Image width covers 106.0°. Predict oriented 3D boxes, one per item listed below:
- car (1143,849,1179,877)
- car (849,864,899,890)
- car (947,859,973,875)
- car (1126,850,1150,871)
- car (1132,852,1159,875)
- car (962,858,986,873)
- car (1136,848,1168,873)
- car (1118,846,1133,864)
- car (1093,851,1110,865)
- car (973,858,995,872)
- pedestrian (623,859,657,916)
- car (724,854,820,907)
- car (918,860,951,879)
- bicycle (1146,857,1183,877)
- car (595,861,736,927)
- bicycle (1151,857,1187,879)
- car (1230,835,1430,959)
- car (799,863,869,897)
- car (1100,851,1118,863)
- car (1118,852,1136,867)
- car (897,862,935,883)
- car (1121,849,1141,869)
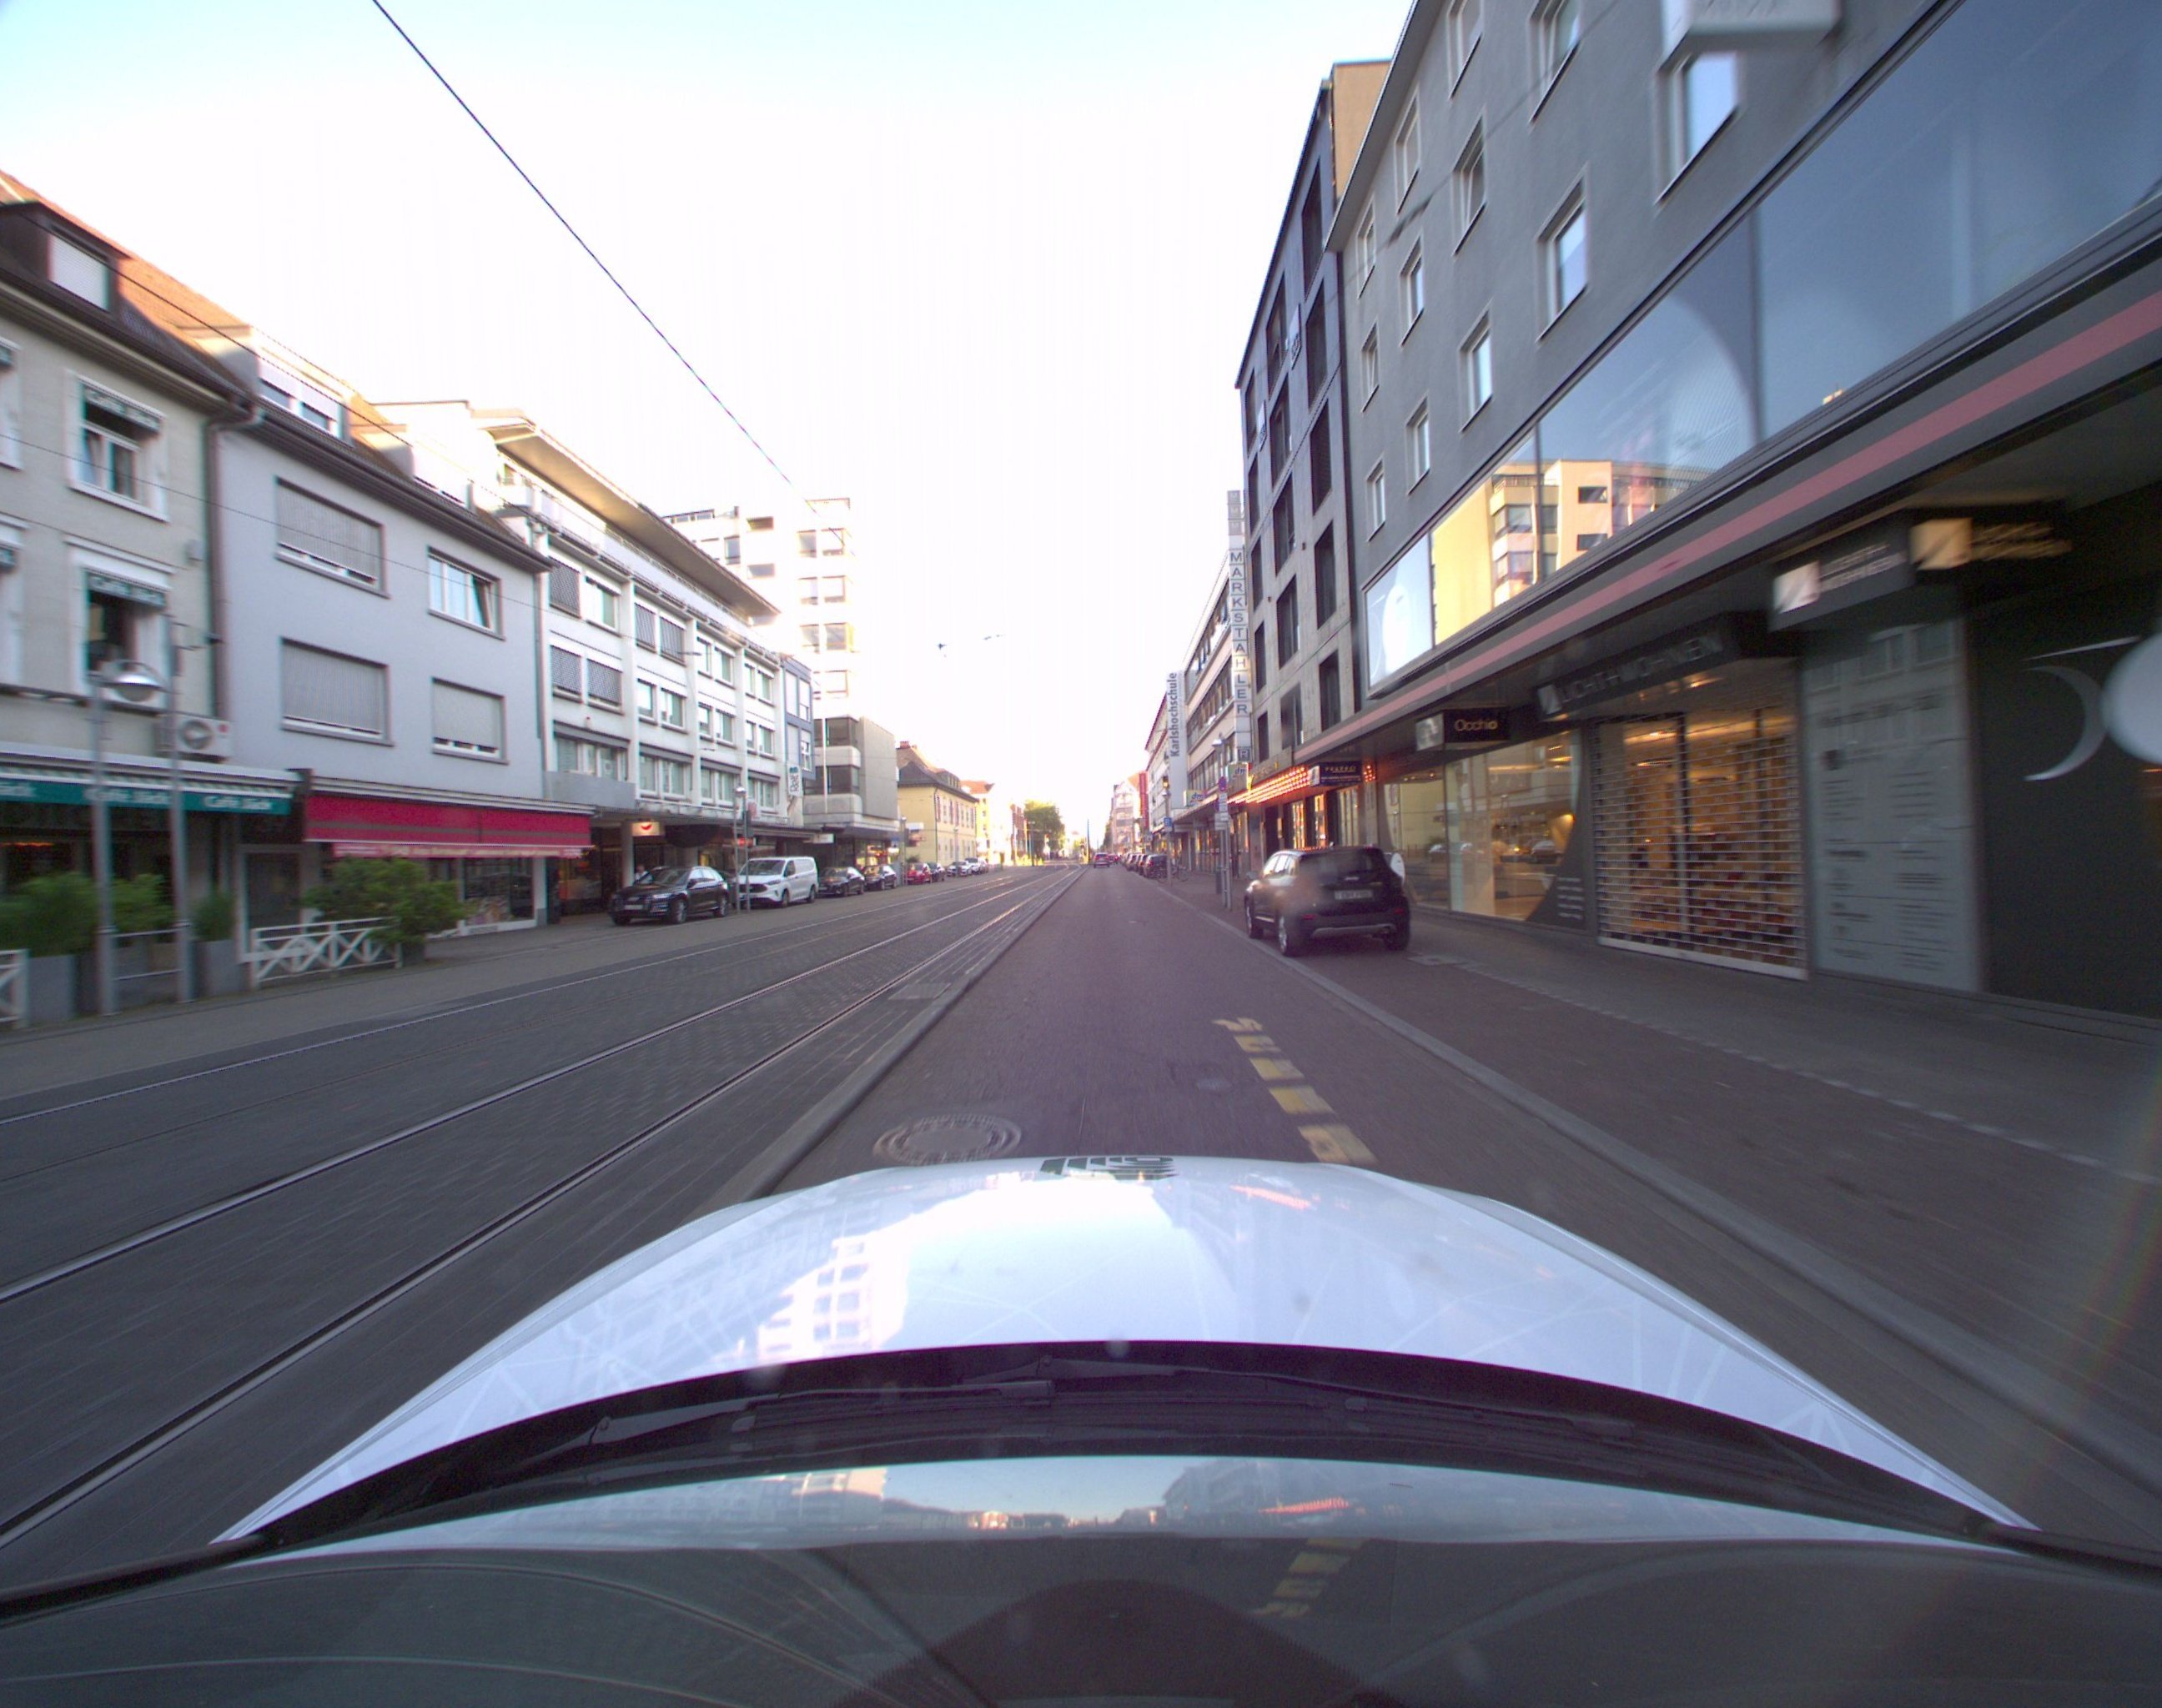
[{"bbox_3d":[4.977,0.533,51.182,1.936,1.545,4.547,-4,0,2],"label":"car"},{"bbox_3d":[-11.734,1.285,46.477,1.784,1.339,3.892,0,0,1],"label":"car"},{"bbox_3d":[-11.102,1.159,74.961,1.784,1.449,3.892,0,0,1],"label":"car"},{"bbox_3d":[5.069,0.588,72.727,1.936,1.703,4.547,-4,0,2],"label":"car"},{"bbox_3d":[5.278,0.717,67.016,1.936,1.703,4.547,-4,0,2],"label":"car"},{"bbox_3d":[-10.638,1.113,81.044,1.784,1.449,3.892,0,0,1],"label":"car"},{"bbox_3d":[4.984,0.459,57.490,1.936,1.545,4.547,-4,0,2],"label":"car"},{"bbox_3d":[6.076,0.126,111.224,1.936,2.145,4.547,-4,0,2],"label":"car"},{"bbox_3d":[2.424,0.447,94.740,1.936,1.545,4.547,-1,0,2],"label":"car"},{"bbox_3d":[-10.249,1.107,86.090,1.784,1.449,3.892,0,0,1],"label":"car"},{"bbox_3d":[-14.519,1.092,26.824,0.646,1.820,0.837,1,0,1],"label":"pedestrian"},{"bbox_3d":[-12.132,0.980,32.355,1.910,1.936,4.842,0,0,1],"label":"car"},{"bbox_3d":[-11.050,1.142,61.687,1.784,1.339,3.892,0,0,1],"label":"car"},{"bbox_3d":[4.864,0.763,47.502,2.113,1.090,0.591,-2,0,-2],"label":"bicycle"},{"bbox_3d":[-12.365,1.113,24.603,1.910,1.763,4.430,0,0,1],"label":"car"},{"bbox_3d":[4.714,0.762,43.751,1.862,1.090,0.545,-2,0,0],"label":"bicycle"},{"bbox_3d":[3.764,0.578,13.248,1.936,1.545,4.547,-4,0,2],"label":"car"},{"bbox_3d":[-11.984,1.238,39.844,1.910,1.521,4.630,0,0,1],"label":"car"},{"bbox_3d":[3.996,0.416,116.139,1.932,1.545,4.557,-2,0,9],"label":"car"},{"bbox_3d":[5.572,0.615,99.376,1.936,1.703,4.547,-4,0,2],"label":"car"},{"bbox_3d":[-11.388,1.235,56.389,1.784,1.339,3.892,0,0,1],"label":"car"},{"bbox_3d":[5.399,0.481,87.676,1.936,1.965,4.547,-4,0,2],"label":"car"}]
